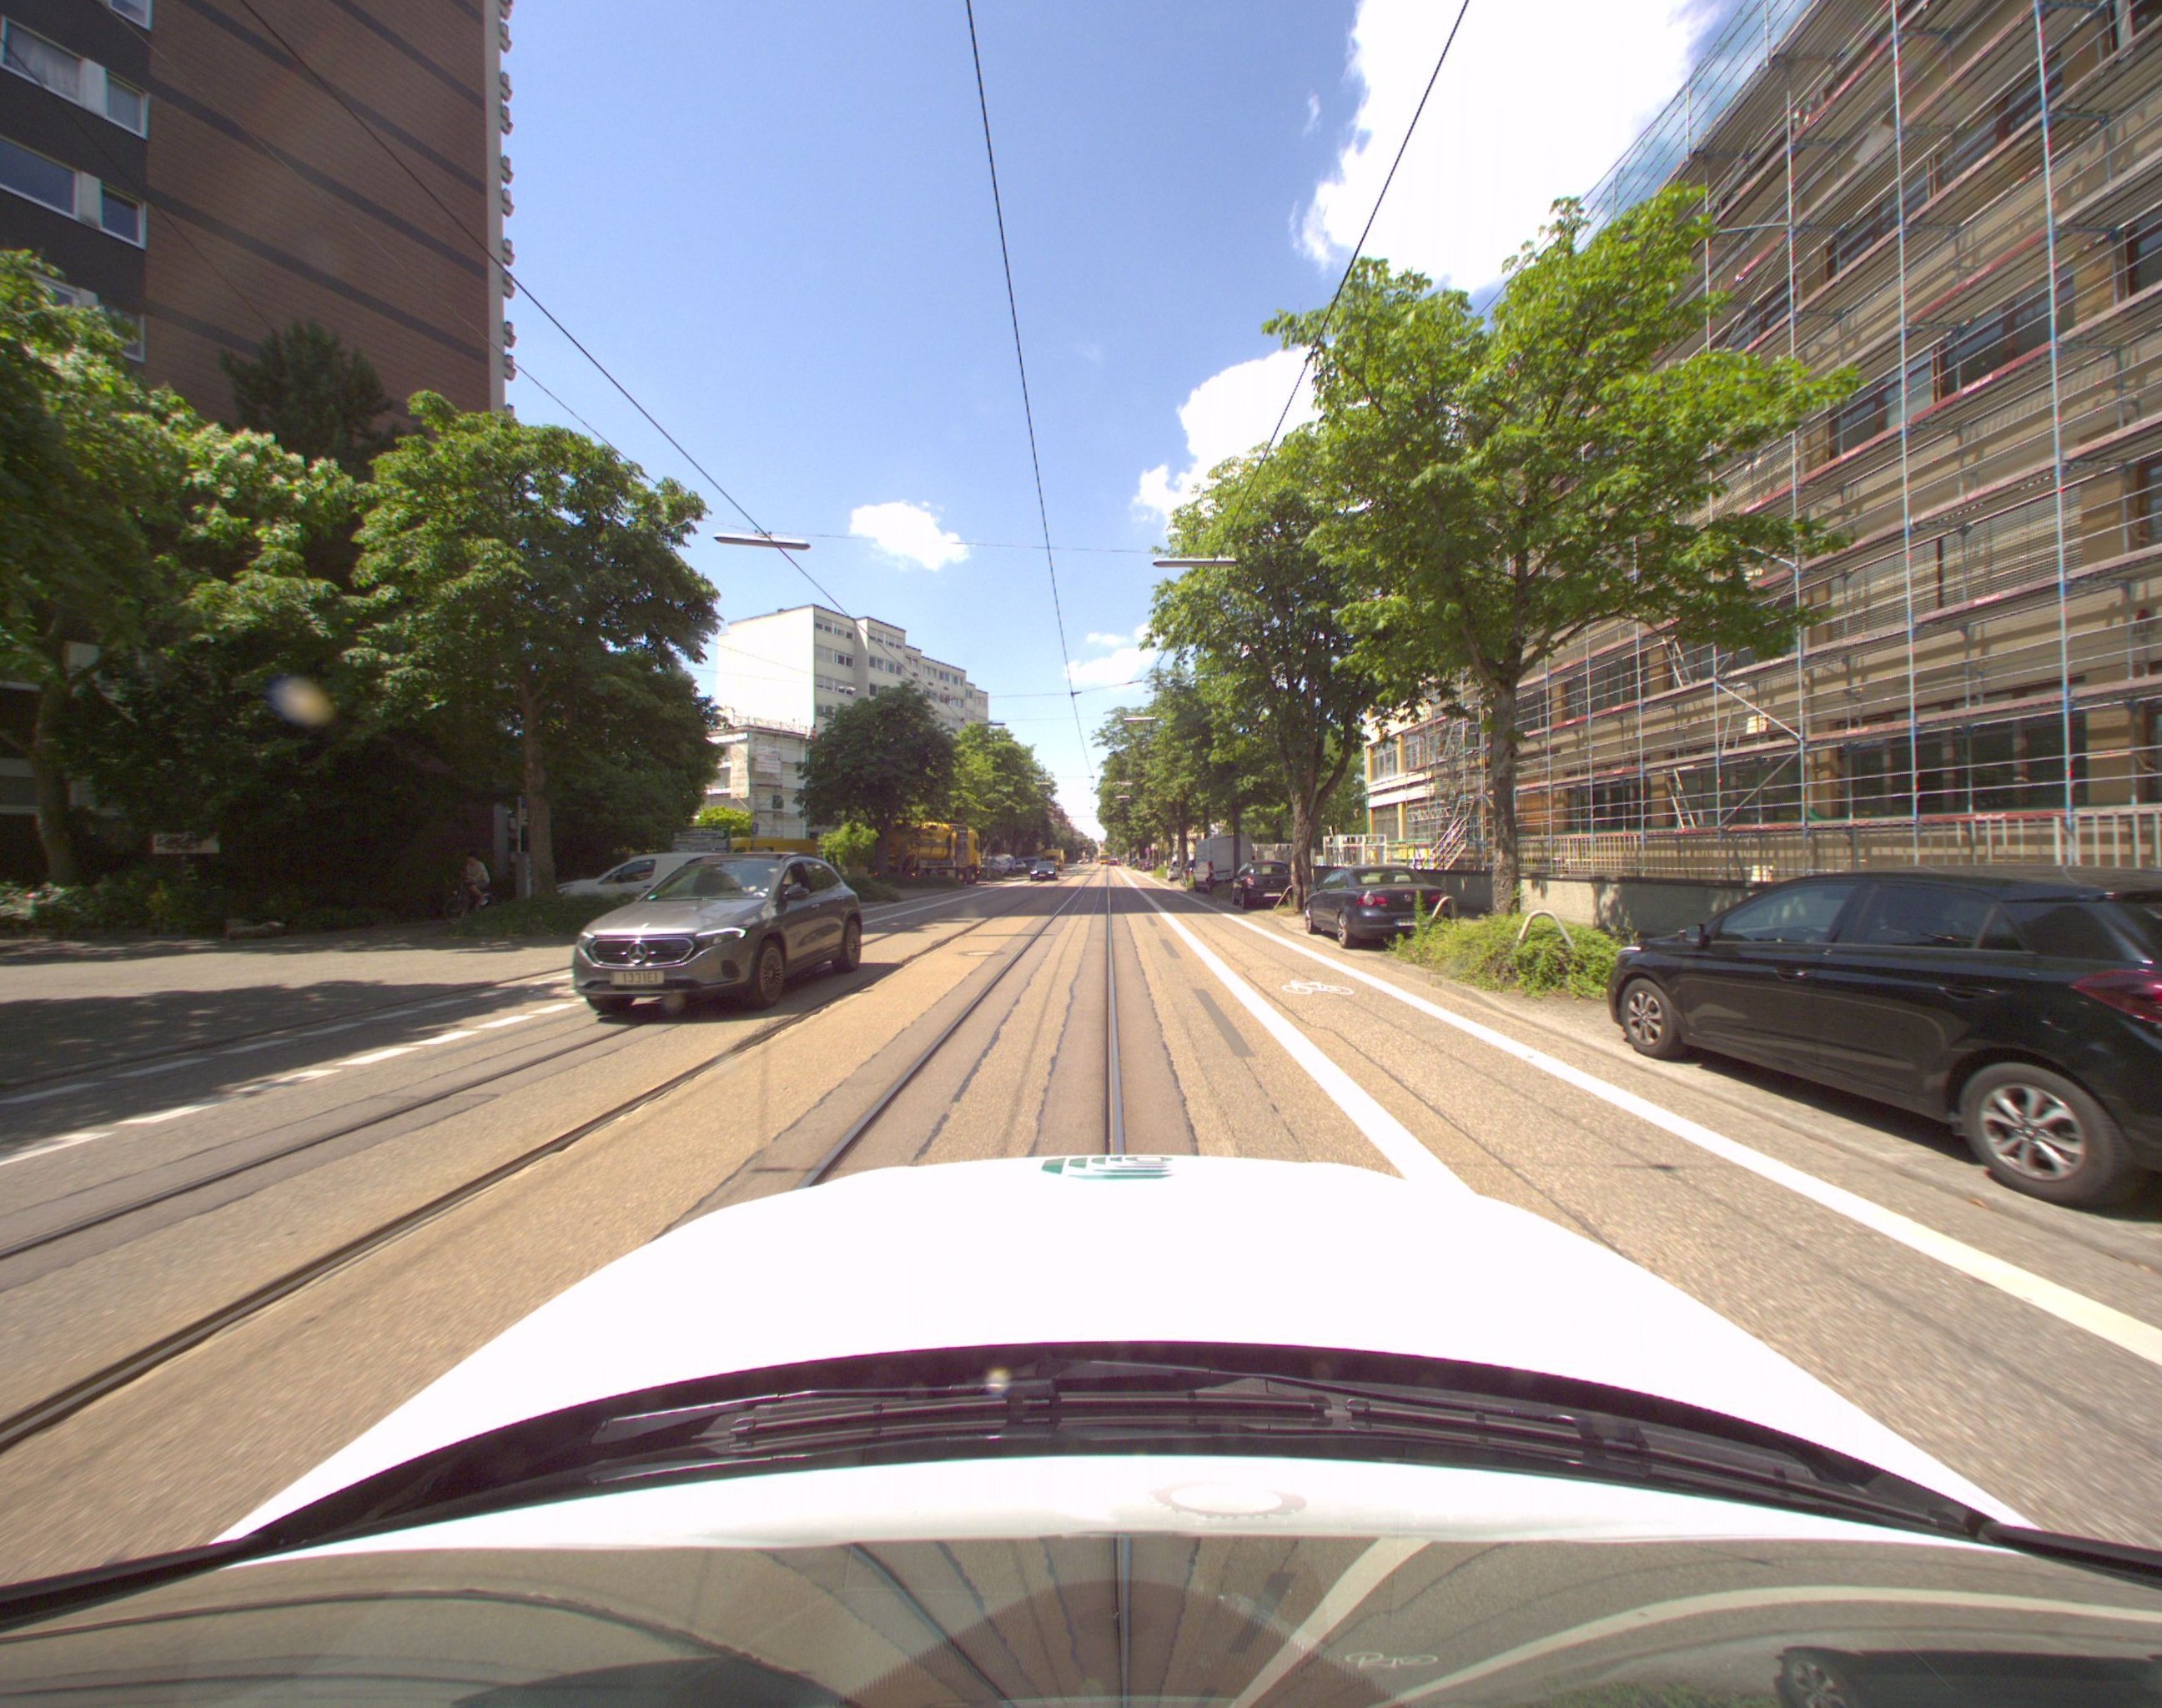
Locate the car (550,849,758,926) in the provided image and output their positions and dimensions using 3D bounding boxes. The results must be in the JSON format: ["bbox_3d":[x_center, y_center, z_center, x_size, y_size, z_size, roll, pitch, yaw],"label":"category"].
[{"bbox_3d":[-10.890,0.792,20.972,4.563,1.791,1.882,1,0,-31],"label":"car"}]

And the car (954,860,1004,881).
[{"bbox_3d":[-8.357,1.349,66.780,1.740,1.507,3.731,-3,-1,44],"label":"car"}]

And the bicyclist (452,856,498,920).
[{"bbox_3d":[-14.247,0.781,19.152,0.479,1.481,0.780,0,0,0],"label":"bicyclist"}]

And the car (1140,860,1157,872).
[{"bbox_3d":[8.507,1.529,102.773,1.869,1.455,4.530,-2,-1,2],"label":"car"}]

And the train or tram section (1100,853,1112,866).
[{"bbox_3d":[7.012,1.546,225.695,3.023,3.438,11.977,-1,-1,3],"label":"train or tram section"}]

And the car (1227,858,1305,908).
[{"bbox_3d":[5.884,0.874,26.419,1.816,1.471,4.405,-1,0,4],"label":"car"}]

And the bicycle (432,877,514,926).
[{"bbox_3d":[-14.246,1.083,19.158,0.516,1.047,1.876,0,0,0],"label":"bicycle"}]

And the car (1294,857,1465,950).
[{"bbox_3d":[5.460,0.819,15.538,1.817,1.471,4.490,-1,0,3],"label":"car"}]

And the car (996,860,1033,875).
[{"bbox_3d":[-7.623,1.497,93.351,1.740,1.433,4.024,-5,-2,44],"label":"car"}]

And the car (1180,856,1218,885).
[{"bbox_3d":[6.428,0.867,44.705,1.638,1.534,3.948,-1,0,1],"label":"car"}]

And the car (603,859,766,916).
[{"bbox_3d":[-11.546,0.913,23.820,3.971,1.532,1.752,1,0,-40],"label":"car"}]

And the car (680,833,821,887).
[{"bbox_3d":[-16.959,0.375,42.313,2.157,2.566,6.766,-1,-2,32],"label":"car"}]

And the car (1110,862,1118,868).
[{"bbox_3d":[7.182,2.420,176.801,1.774,1.346,3.417,-1,-1,2],"label":"car"}]

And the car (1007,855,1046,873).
[{"bbox_3d":[-7.069,1.278,106.098,4.785,2.062,2.003,-2,-1,-37],"label":"car"}]

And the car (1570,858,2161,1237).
[{"bbox_3d":[5.074,0.766,5.072,1.665,1.438,4.042,-1,0,1],"label":"car"}]

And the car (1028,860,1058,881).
[{"bbox_3d":[-2.733,1.171,59.516,1.767,1.397,4.289,-1,0,2],"label":"car"}]

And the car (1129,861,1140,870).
[{"bbox_3d":[9.856,2.131,150.643,1.704,1.423,4.310,-2,-1,1],"label":"car"}]

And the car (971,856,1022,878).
[{"bbox_3d":[-8.265,1.296,79.972,1.898,1.935,4.785,-4,-1,44],"label":"car"}]

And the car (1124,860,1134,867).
[{"bbox_3d":[9.938,1.978,168.899,1.704,1.423,4.310,-2,-1,1],"label":"car"}]

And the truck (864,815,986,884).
[{"bbox_3d":[-9.276,-0.163,50.433,2.695,3.842,11.009,0,-1,16],"label":"truck"}]

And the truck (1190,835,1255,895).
[{"bbox_3d":[6.285,0.471,36.969,2.007,2.489,5.957,-1,0,1],"label":"truck"}]

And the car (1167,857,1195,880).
[{"bbox_3d":[6.927,0.989,56.757,1.637,1.534,3.788,-1,0,3],"label":"car"}]

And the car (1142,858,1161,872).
[{"bbox_3d":[7.766,1.274,90.271,1.634,1.485,3.870,-2,-1,-1],"label":"car"}]

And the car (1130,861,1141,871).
[{"bbox_3d":[8.843,1.944,131.416,1.586,1.617,3.908,-2,-1,1],"label":"car"}]

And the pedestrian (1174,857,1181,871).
[{"bbox_3d":[12.362,1.267,104.540,0.612,1.737,0.481,-3,-2,32],"label":"pedestrian"}]

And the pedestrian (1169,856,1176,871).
[{"bbox_3d":[11.810,1.217,105.246,0.718,1.860,0.579,-2,-1,18],"label":"pedestrian"}]

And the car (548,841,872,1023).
[{"bbox_3d":[-4.049,0.743,9.785,1.824,1.681,4.186,-1,0,2],"label":"car"}]

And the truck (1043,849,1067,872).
[{"bbox_3d":[-3.277,0.796,105.040,2.350,2.852,7.384,-2,0,3],"label":"truck"}]
